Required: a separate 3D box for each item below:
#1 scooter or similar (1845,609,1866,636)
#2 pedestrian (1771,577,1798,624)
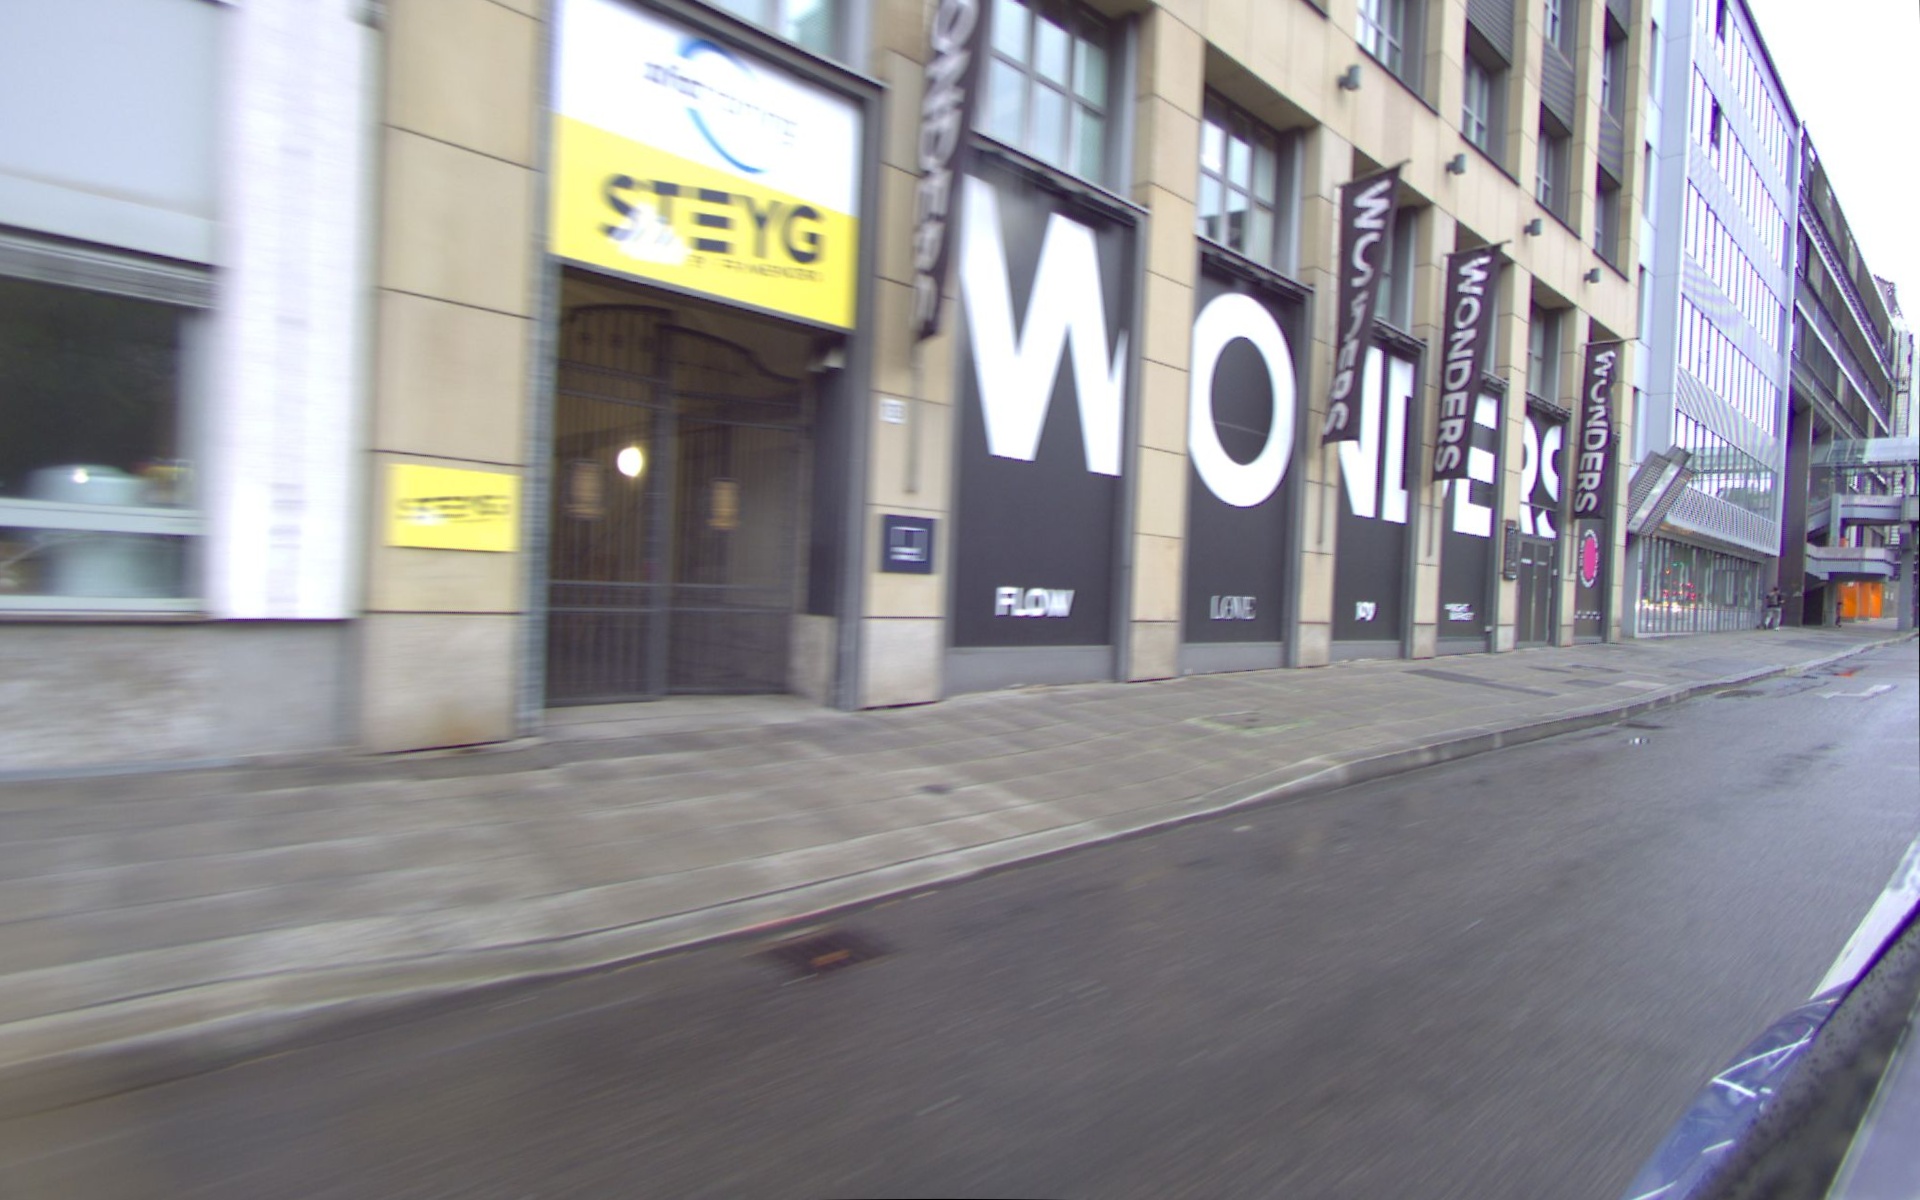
[{"bbox_3d":[43.882,1.097,49.598,0.468,1.289,1.293,2,0,30],"label":"scooter or similar"},{"bbox_3d":[33.344,0.022,40.929,0.751,1.855,0.728,0,1,-42],"label":"pedestrian"}]
